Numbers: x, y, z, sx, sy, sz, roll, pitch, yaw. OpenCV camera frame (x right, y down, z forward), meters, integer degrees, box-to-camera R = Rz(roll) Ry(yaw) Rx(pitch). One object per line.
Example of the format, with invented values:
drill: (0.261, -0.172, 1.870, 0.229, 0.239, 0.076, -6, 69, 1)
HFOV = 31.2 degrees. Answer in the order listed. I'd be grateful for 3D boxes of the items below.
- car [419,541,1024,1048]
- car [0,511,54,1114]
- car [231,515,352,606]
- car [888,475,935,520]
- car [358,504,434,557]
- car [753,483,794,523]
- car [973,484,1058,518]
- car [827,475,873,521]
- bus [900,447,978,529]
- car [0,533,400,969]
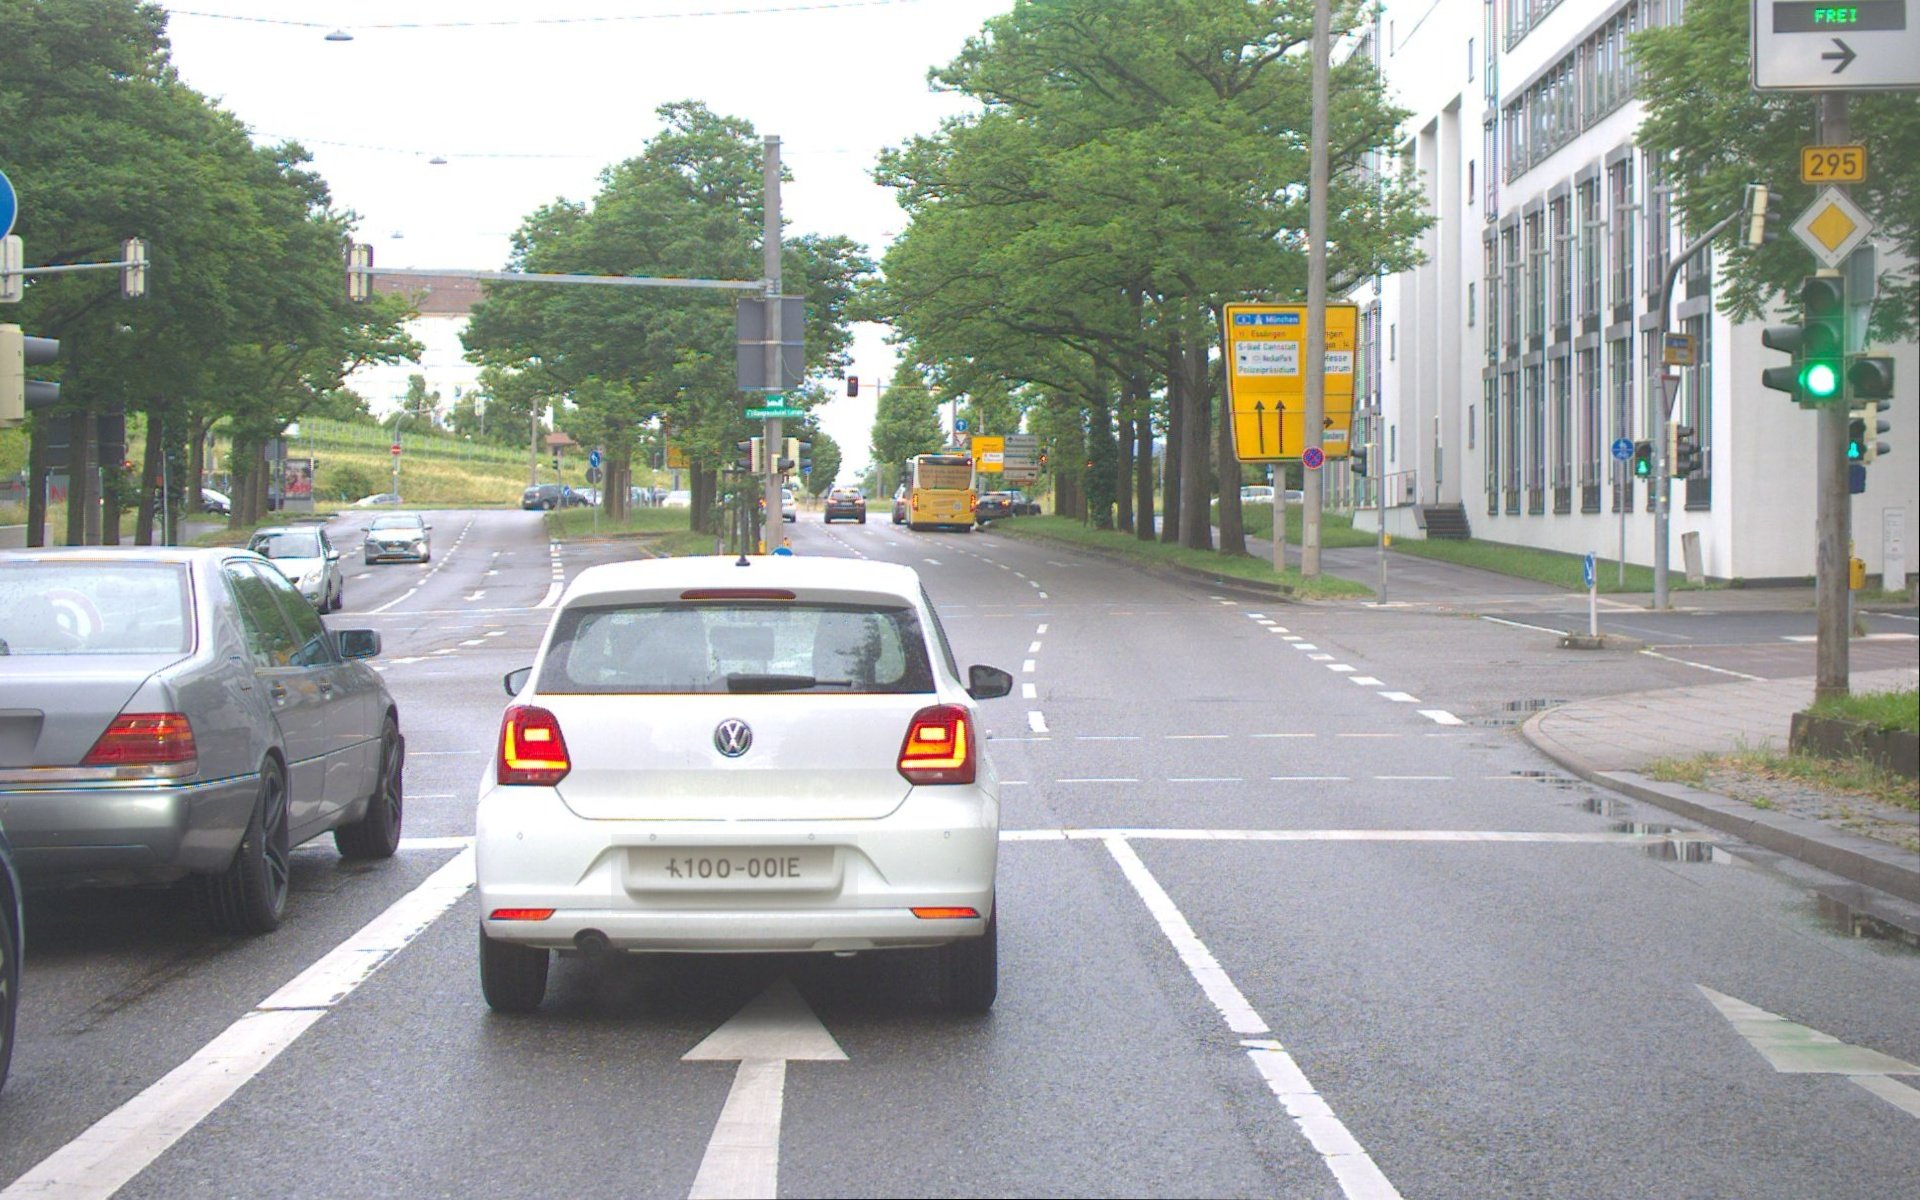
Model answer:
car: (-0.761, 0.549, 12.242, 1.794, 1.497, 4.000, 0, 1, -1)
car: (-3.455, 0.607, 7.498, 1.772, 1.591, 4.197, -1, 1, 1)
car: (-12.059, -0.739, 62.185, 1.750, 1.515, 3.818, -1, 2, -5)
car: (-2.203, -4.635, 155.624, 1.993, 2.007, 4.001, 0, 1, -3)
car: (-16.329, -2.027, 99.750, 1.814, 1.406, 4.657, -2, 2, -5)
car: (-8.506, -4.412, 156.306, 1.794, 1.735, 4.001, -1, 1, -3)
car: (2.490, -4.440, 154.458, 1.699, 1.510, 3.818, 1, 1, 43)
car: (-4.969, -4.585, 154.656, 1.993, 2.007, 4.001, 0, 1, -3)
bus: (-0.927, -4.589, 142.254, 2.828, 3.255, 10.002, 0, 1, -3)
car: (-3.547, 0.497, 13.988, 1.847, 1.505, 4.048, -1, 1, 0)
